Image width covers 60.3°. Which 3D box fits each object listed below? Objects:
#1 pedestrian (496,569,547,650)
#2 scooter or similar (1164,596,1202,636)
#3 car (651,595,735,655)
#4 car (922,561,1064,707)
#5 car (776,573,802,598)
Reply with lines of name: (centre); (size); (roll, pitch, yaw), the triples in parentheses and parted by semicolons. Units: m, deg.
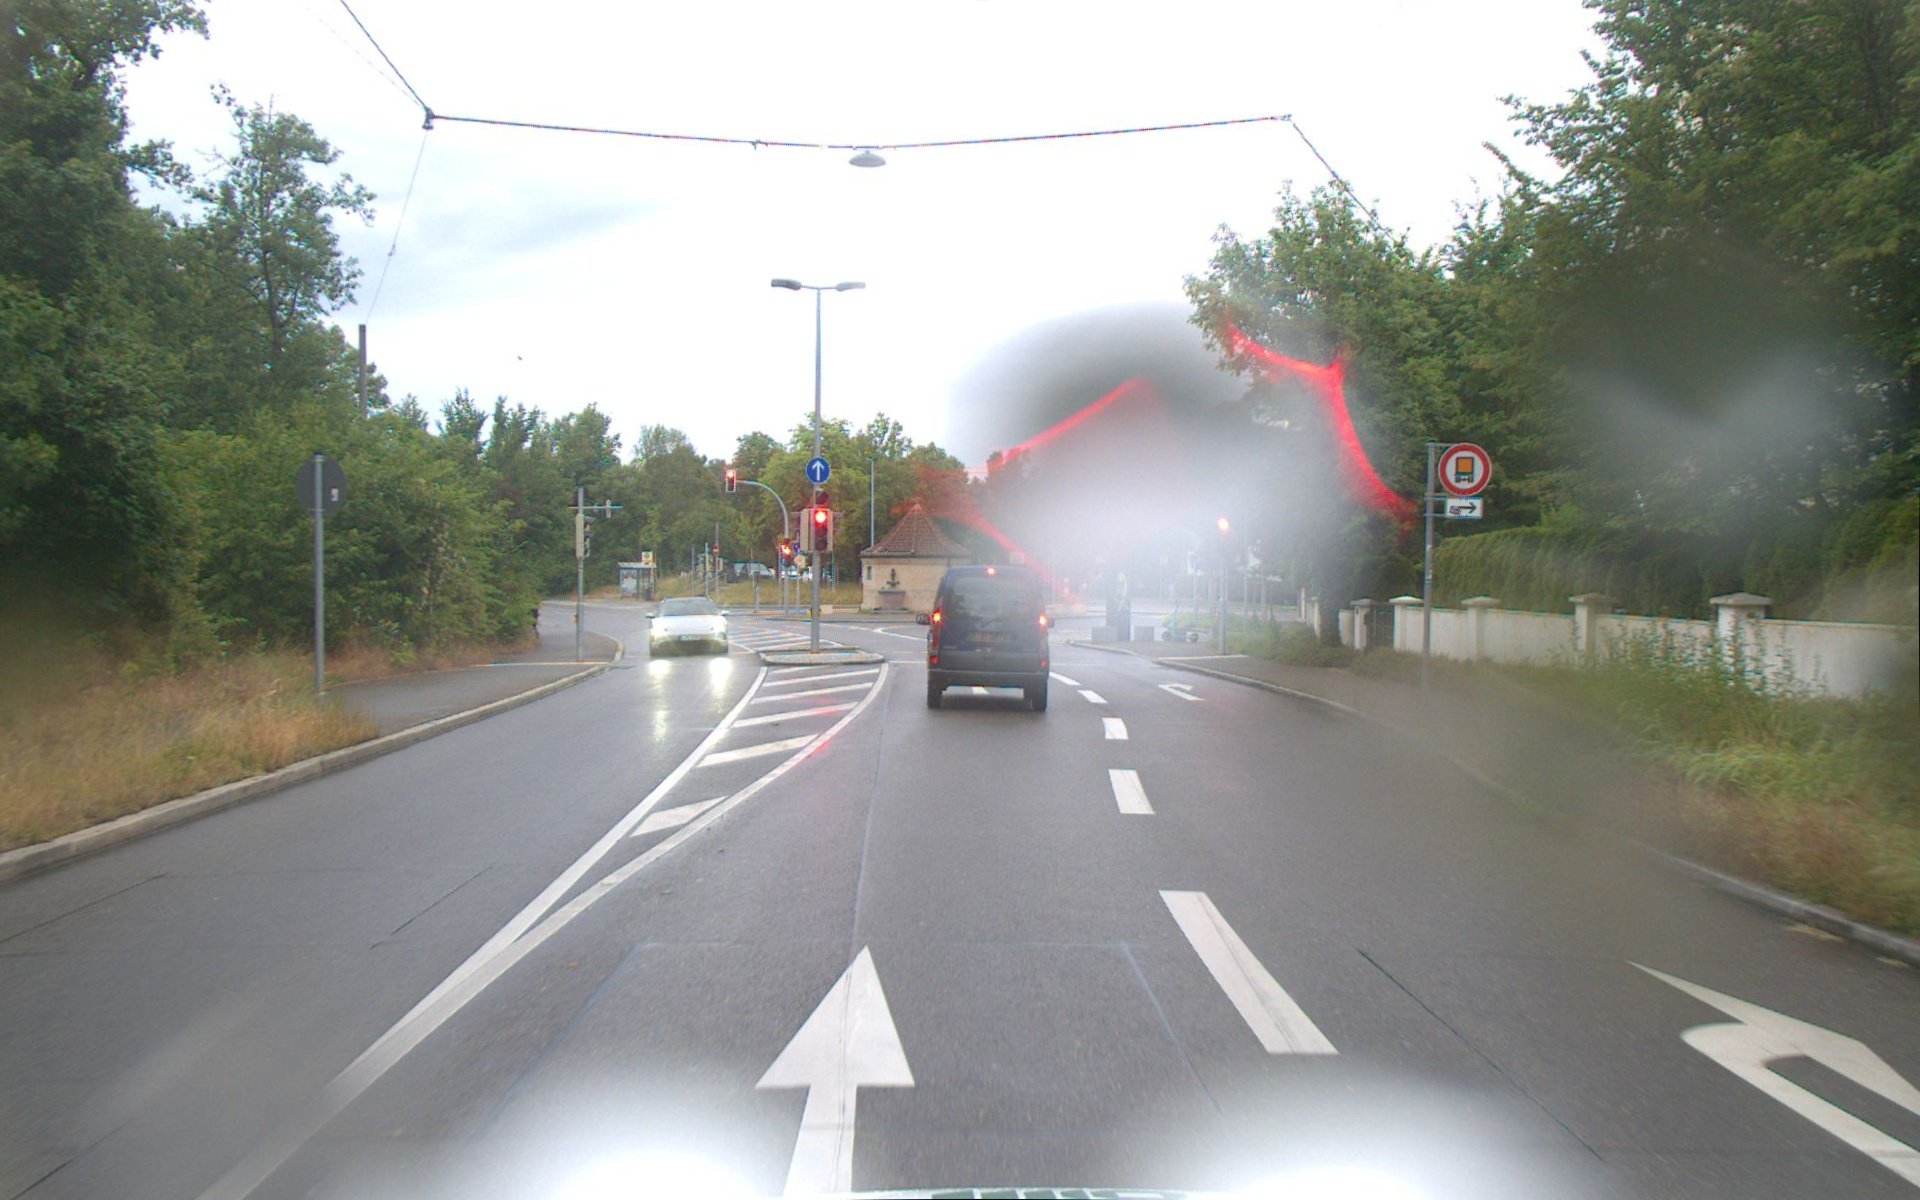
pedestrian: (-11.312, 0.236, 42.705); (1.067, 2.049, 0.998); (1, -1, -5)
scooter or similar: (6.974, 0.506, 51.698); (1.125, 1.240, 0.405); (0, -1, -1)
car: (-6.881, 0.588, 42.349); (1.958, 1.334, 4.348); (-3, 1, -11)
car: (0.371, 0.412, 22.870); (1.697, 1.817, 3.998); (1, 0, -2)
car: (-13.733, -1.157, 133.262); (1.954, 1.844, 3.996); (1, -1, -4)
